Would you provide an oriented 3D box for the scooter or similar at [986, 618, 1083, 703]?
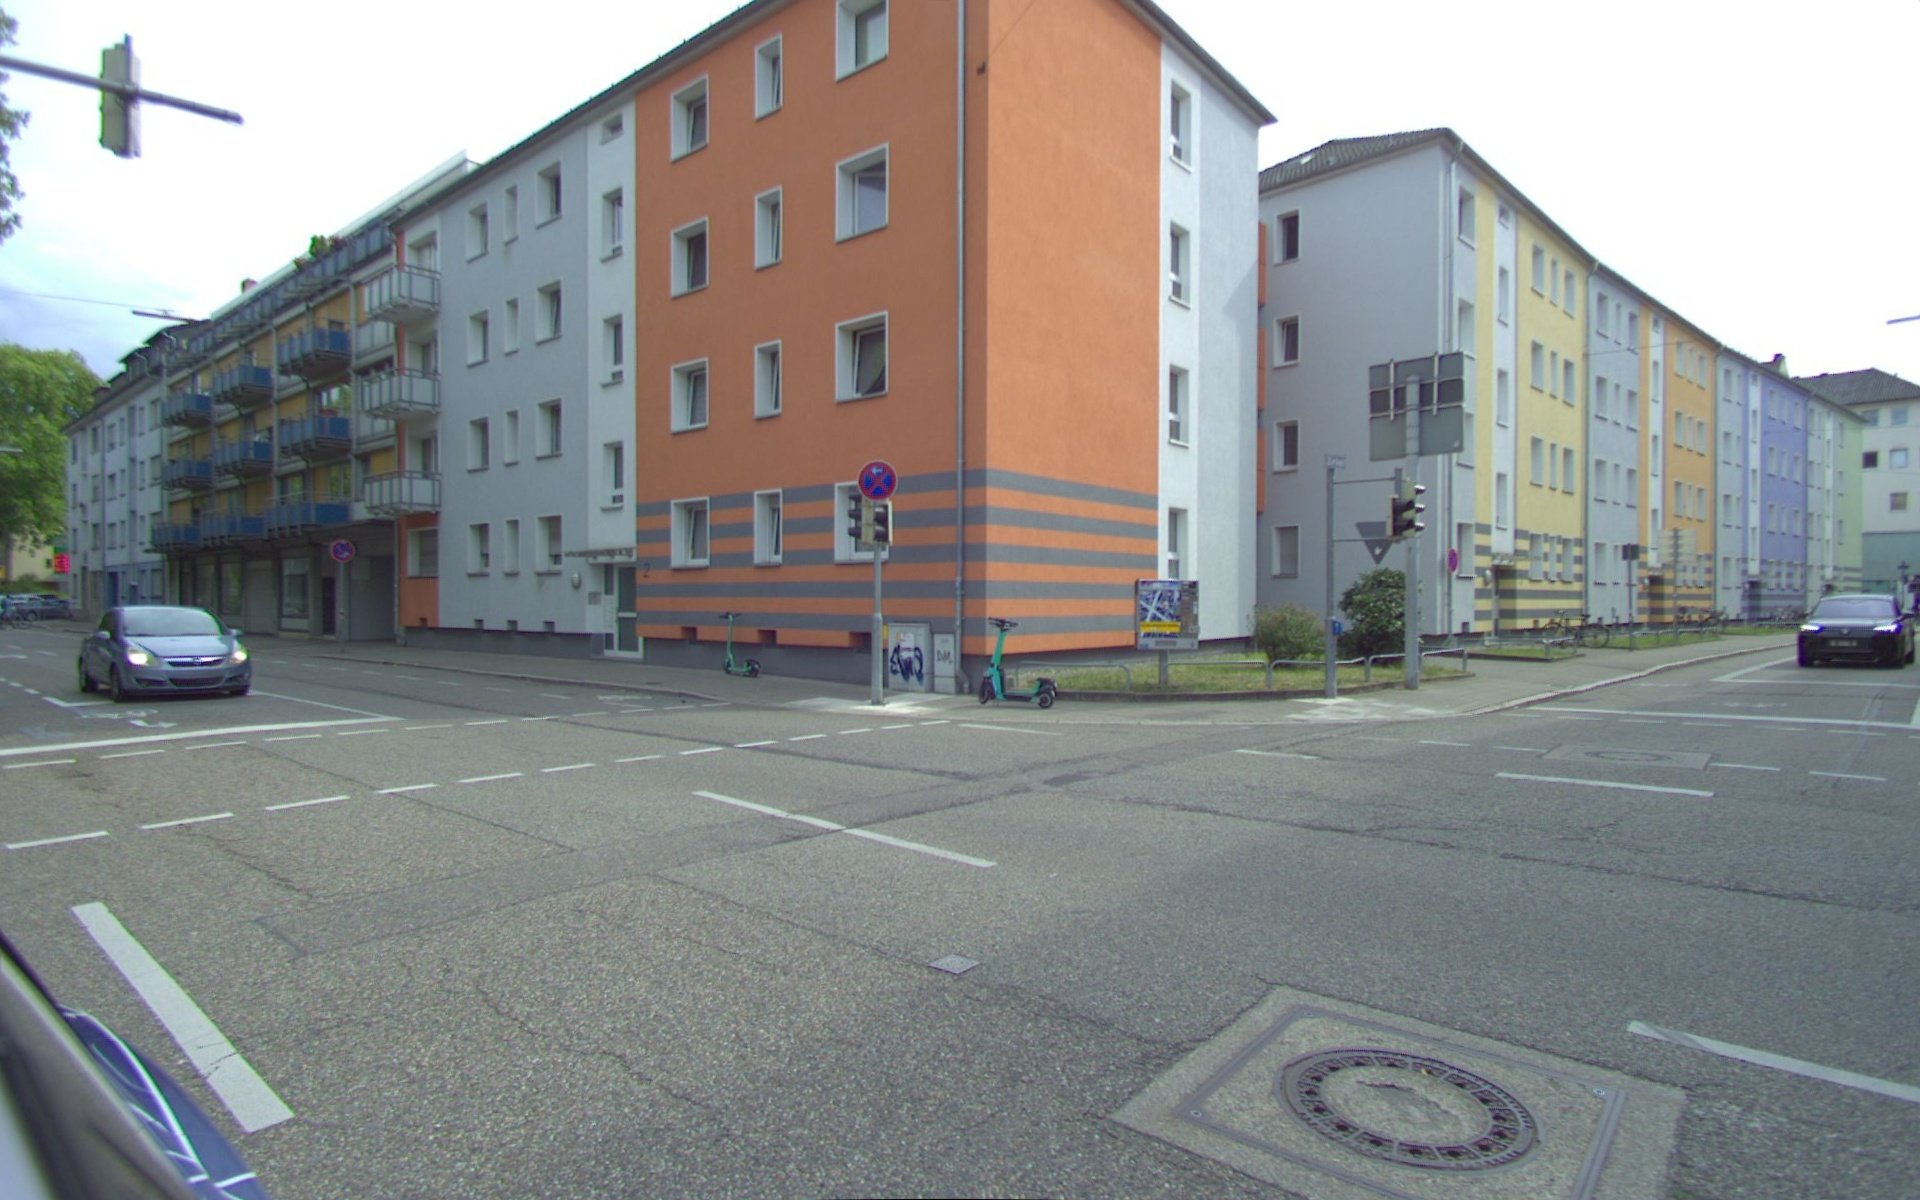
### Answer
[{"bbox_3d":[1.065,0.850,14.578,1.347,1.166,0.327,-1,1,28],"label":"scooter or similar"}]

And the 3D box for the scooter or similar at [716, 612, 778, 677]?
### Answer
[{"bbox_3d":[-3.943,0.804,18.691,1.353,1.132,0.364,0,2,41],"label":"scooter or similar"}]

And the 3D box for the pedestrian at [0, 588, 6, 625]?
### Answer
[{"bbox_3d":[-53.049,0.361,55.636,0.875,2.028,0.831,0,2,45],"label":"pedestrian"}]

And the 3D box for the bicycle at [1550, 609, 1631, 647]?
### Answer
[{"bbox_3d":[17.684,0.771,28.422,1.867,1.019,0.554,0,2,45],"label":"bicycle"}]

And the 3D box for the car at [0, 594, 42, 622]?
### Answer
[{"bbox_3d":[-72.603,0.594,76.881,1.998,2.028,3.947,0,2,40],"label":"car"}]

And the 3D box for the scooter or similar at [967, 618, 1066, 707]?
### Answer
[{"bbox_3d":[0.781,0.850,14.040,1.336,1.187,0.327,-1,1,28],"label":"scooter or similar"}]

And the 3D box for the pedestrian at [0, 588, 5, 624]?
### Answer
[{"bbox_3d":[-54.744,0.361,57.324,0.875,2.028,0.831,0,2,45],"label":"pedestrian"}]

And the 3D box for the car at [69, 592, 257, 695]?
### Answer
[{"bbox_3d":[-12.802,0.621,16.188,3.817,1.449,1.652,0,0,40],"label":"car"}]

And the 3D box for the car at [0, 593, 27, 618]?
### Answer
[{"bbox_3d":[-81.284,0.527,85.046,1.998,2.028,3.947,0,2,40],"label":"car"}]

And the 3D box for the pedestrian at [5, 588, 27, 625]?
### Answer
[{"bbox_3d":[-52.581,0.333,56.370,0.875,2.028,0.831,0,2,45],"label":"pedestrian"}]

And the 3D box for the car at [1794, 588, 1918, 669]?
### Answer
[{"bbox_3d":[20.673,0.583,23.294,3.941,1.612,1.900,-3,2,-45],"label":"car"}]

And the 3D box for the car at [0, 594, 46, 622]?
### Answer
[{"bbox_3d":[-74.221,0.638,78.990,1.998,2.028,3.947,0,2,40],"label":"car"}]

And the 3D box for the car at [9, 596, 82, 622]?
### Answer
[{"bbox_3d":[-67.966,0.646,75.251,1.881,1.701,3.822,0,2,40],"label":"car"}]
